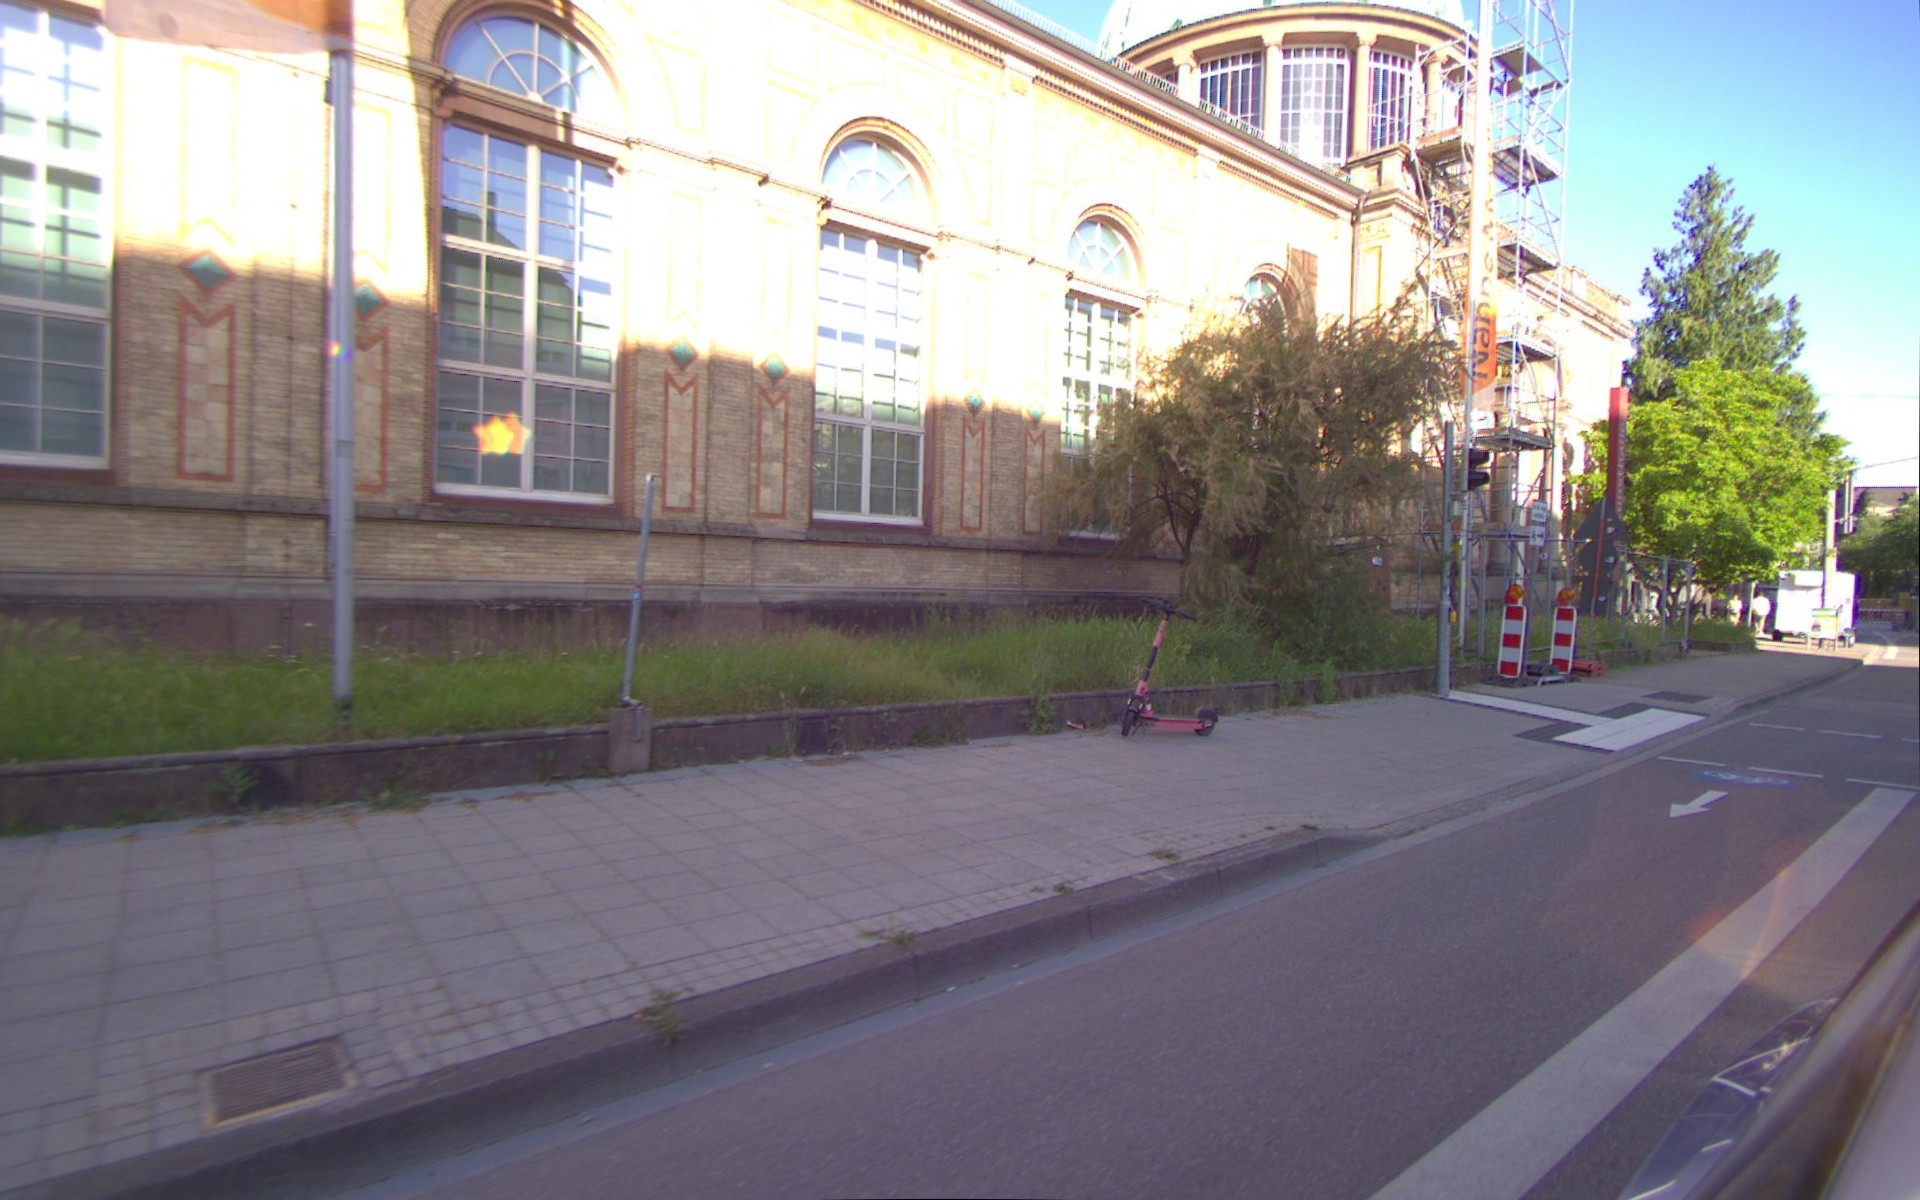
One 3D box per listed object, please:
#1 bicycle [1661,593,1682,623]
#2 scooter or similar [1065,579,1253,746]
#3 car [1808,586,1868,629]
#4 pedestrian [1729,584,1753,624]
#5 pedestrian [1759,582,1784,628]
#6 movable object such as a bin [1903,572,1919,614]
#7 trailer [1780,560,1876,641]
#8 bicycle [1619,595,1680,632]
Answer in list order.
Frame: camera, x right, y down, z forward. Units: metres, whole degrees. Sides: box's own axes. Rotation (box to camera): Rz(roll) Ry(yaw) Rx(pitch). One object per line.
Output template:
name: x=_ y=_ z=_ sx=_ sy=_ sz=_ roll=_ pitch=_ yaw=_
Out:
bicycle: x=27.496 y=0.305 z=39.112 sx=1.505 sy=1.119 sz=0.274 roll=1 pitch=3 yaw=-41
scooter or similar: x=1.788 y=0.506 z=8.915 sx=1.798 sy=1.325 sz=0.557 roll=1 pitch=1 yaw=-39
car: x=43.196 y=0.324 z=49.871 sx=2.011 sy=1.970 sz=5.404 roll=1 pitch=1 yaw=39
pedestrian: x=34.082 y=0.169 z=44.166 sx=0.682 sy=1.722 sz=0.683 roll=4 pitch=2 yaw=43
pedestrian: x=34.916 y=0.193 z=43.544 sx=0.715 sy=1.918 sz=0.876 roll=4 pitch=2 yaw=42
movable object such as a bin: x=77.694 y=-0.493 z=80.809 sx=3.160 sy=3.341 sz=4.321 roll=3 pitch=2 yaw=41
trailer: x=30.425 y=0.001 z=35.441 sx=4.418 sy=2.559 sz=2.082 roll=1 pitch=3 yaw=-45
bicycle: x=21.392 y=0.400 z=31.395 sx=0.471 sy=1.052 sz=1.467 roll=1 pitch=2 yaw=-45
